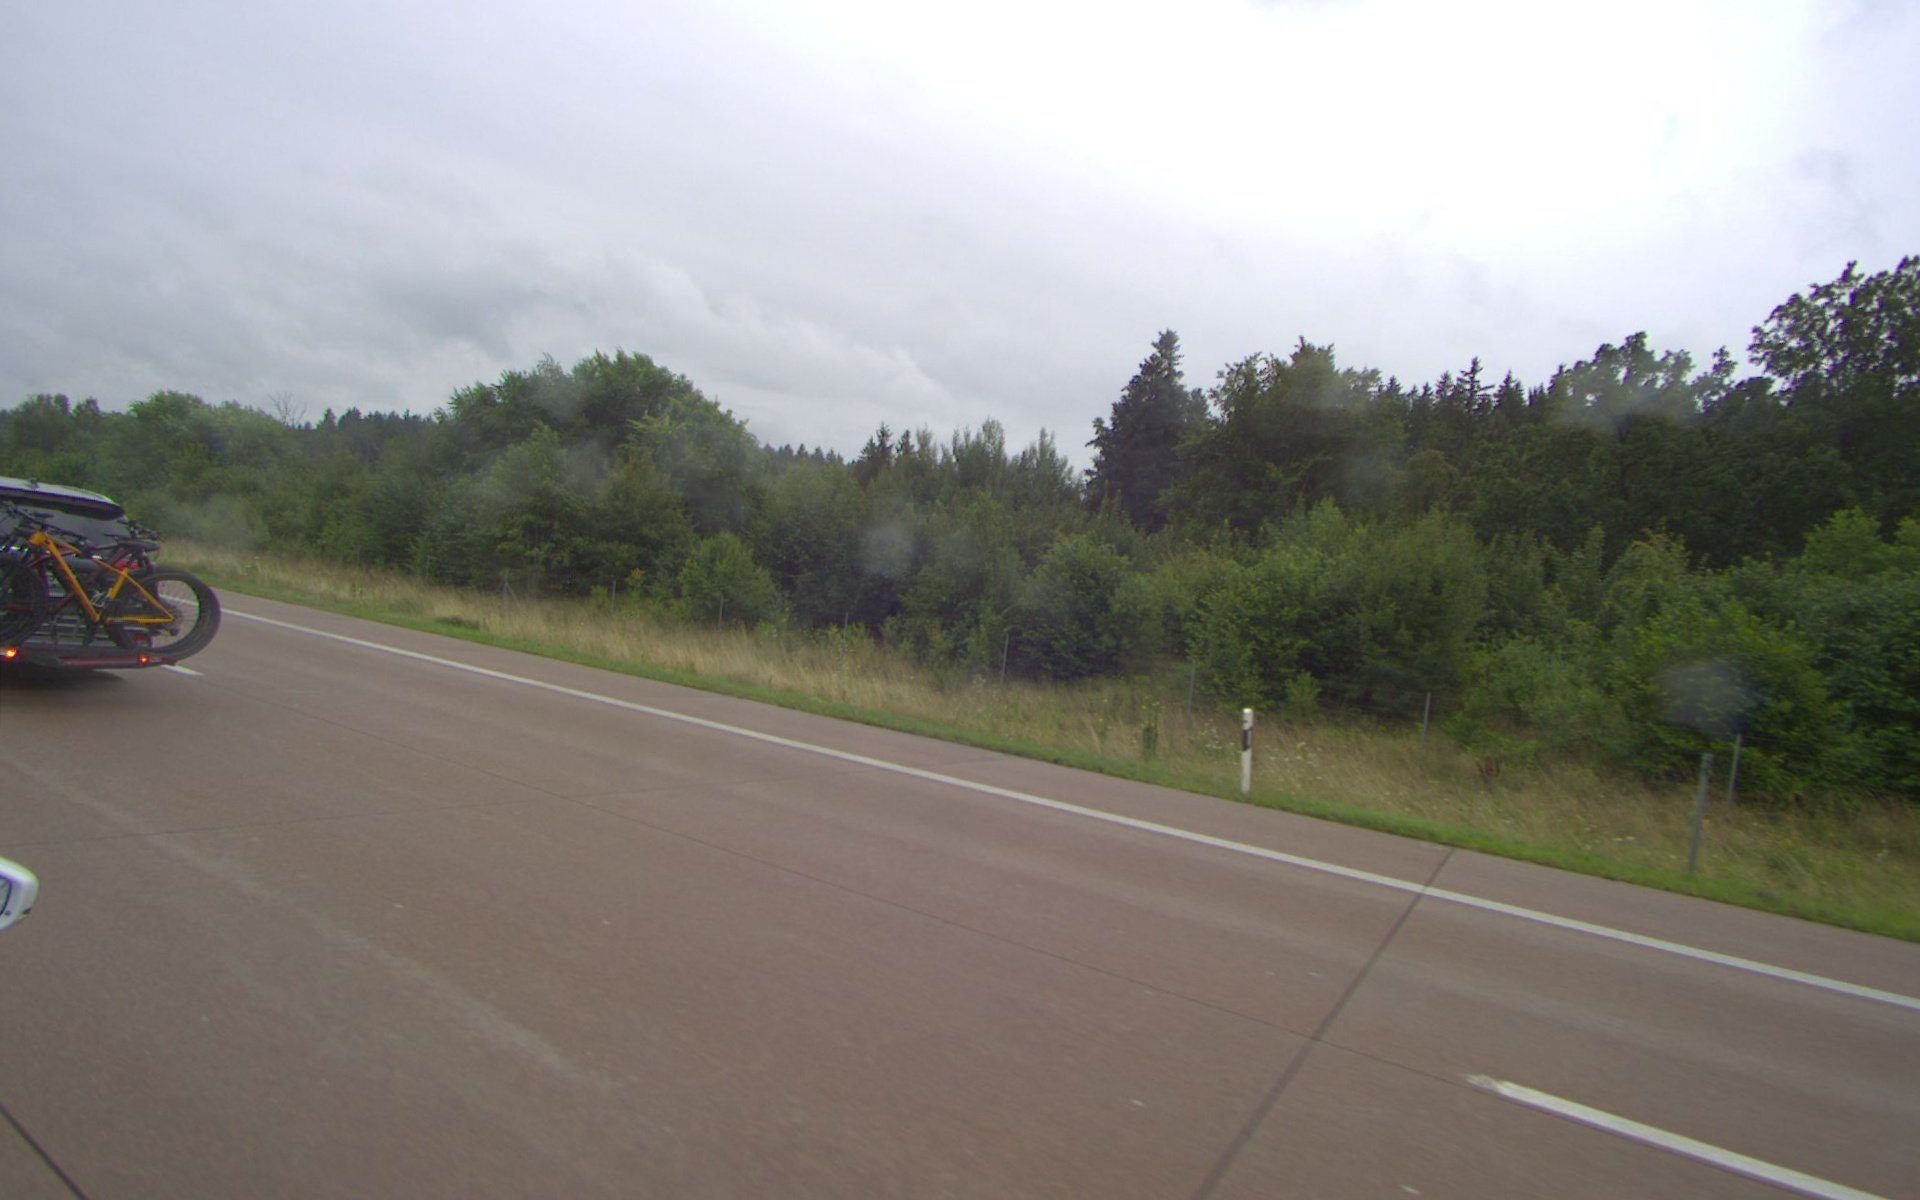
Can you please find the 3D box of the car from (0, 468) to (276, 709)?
[{"bbox_3d":[-8.586,-0.270,8.856,5.724,1.611,1.997,6,-2,32],"label":"car"}]
